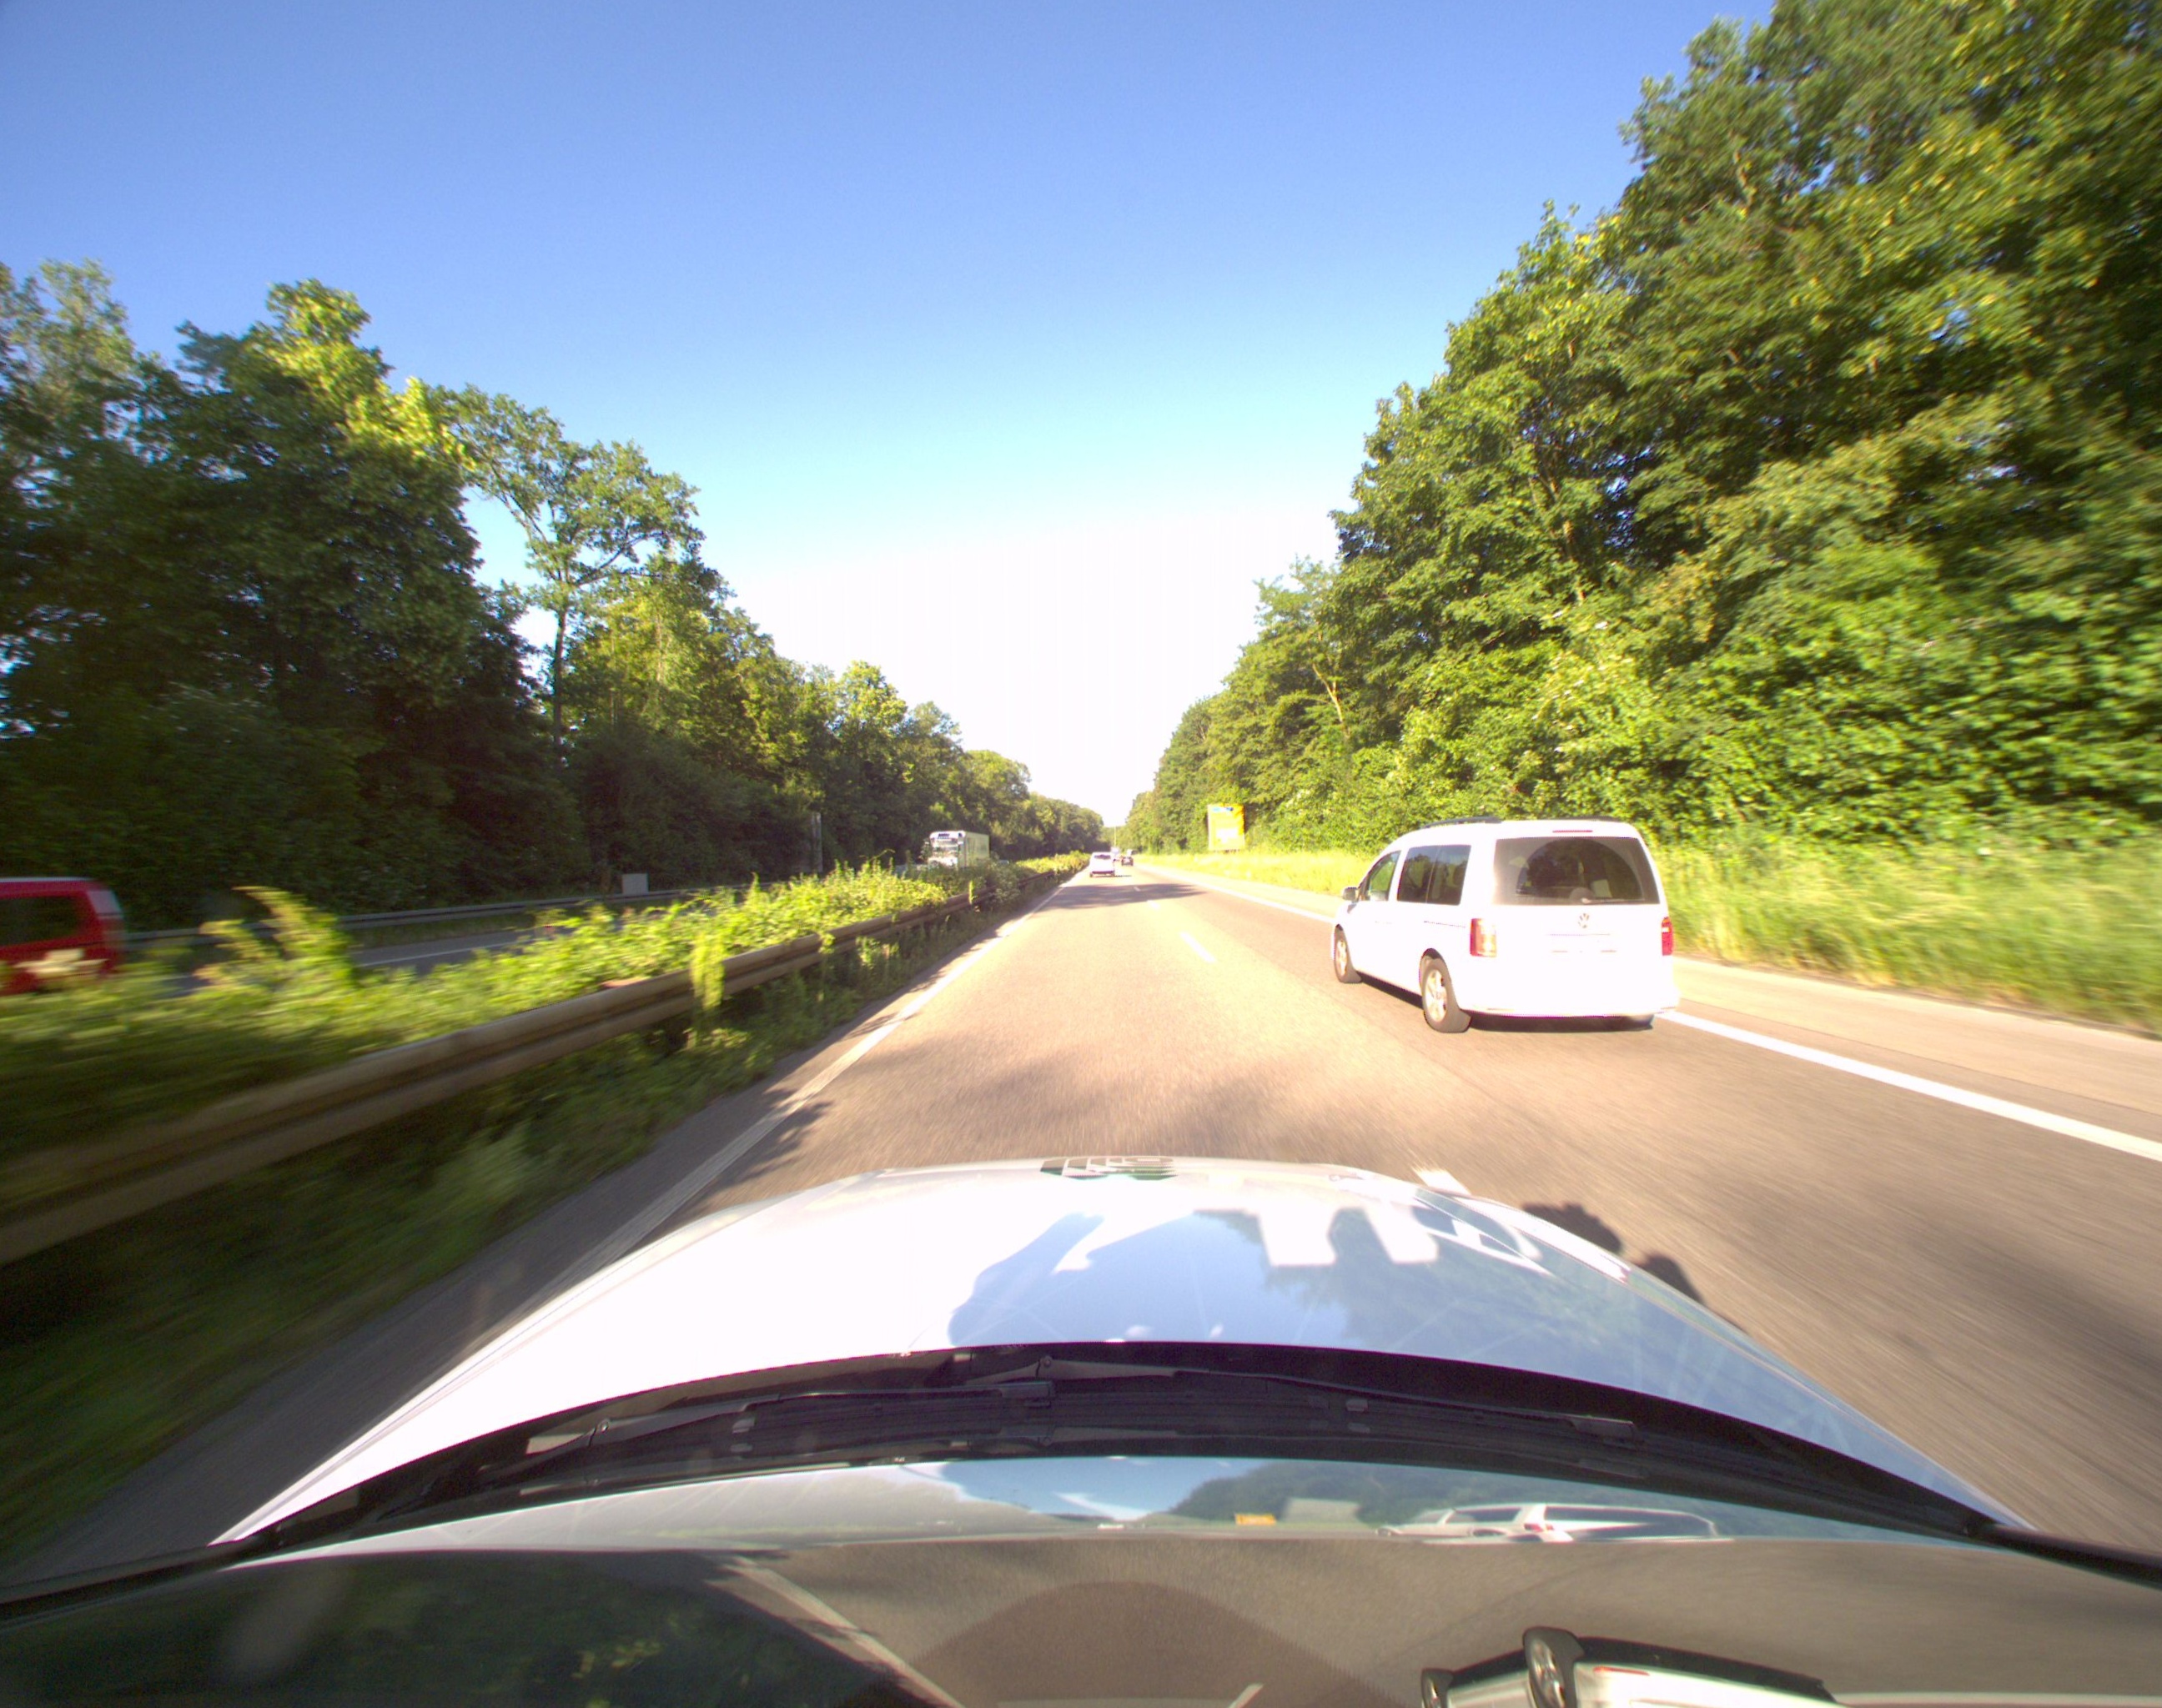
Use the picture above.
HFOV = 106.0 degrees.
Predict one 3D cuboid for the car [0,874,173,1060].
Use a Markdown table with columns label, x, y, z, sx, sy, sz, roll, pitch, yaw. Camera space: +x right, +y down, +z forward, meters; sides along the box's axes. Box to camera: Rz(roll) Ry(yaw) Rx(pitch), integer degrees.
| label | x | y | z | sx | sy | sz | roll | pitch | yaw |
| --- | --- | --- | --- | --- | --- | --- | --- | --- | --- |
| car | -11.553 | 1.124 | 7.266 | 1.710 | 1.810 | 4.527 | 0 | -1 | 2 |

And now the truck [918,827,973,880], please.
| label | x | y | z | sx | sy | sz | roll | pitch | yaw |
| --- | --- | --- | --- | --- | --- | --- | --- | --- | --- |
| truck | -10.712 | -0.042 | 64.913 | 3.217 | 4.013 | 5.678 | 0 | 0 | 1 |

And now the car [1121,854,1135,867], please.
| label | x | y | z | sx | sy | sz | roll | pitch | yaw |
| --- | --- | --- | --- | --- | --- | --- | --- | --- | --- |
| car | 6.979 | 0.983 | 121.349 | 1.944 | 1.782 | 4.588 | 0 | -1 | 1 |

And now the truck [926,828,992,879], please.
| label | x | y | z | sx | sy | sz | roll | pitch | yaw |
| --- | --- | --- | --- | --- | --- | --- | --- | --- | --- |
| truck | -10.517 | -0.033 | 71.967 | 3.231 | 4.013 | 14.455 | 0 | 0 | 2 |

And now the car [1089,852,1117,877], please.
| label | x | y | z | sx | sy | sz | roll | pitch | yaw |
| --- | --- | --- | --- | --- | --- | --- | --- | --- | --- |
| car | 1.617 | 0.751 | 60.368 | 1.944 | 1.782 | 4.588 | 0 | -1 | 1 |

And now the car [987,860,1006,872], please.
| label | x | y | z | sx | sy | sz | roll | pitch | yaw |
| --- | --- | --- | --- | --- | --- | --- | --- | --- | --- |
| car | -10.091 | 1.429 | 96.984 | 1.757 | 1.473 | 3.793 | 0 | -1 | 1 |

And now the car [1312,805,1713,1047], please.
| label | x | y | z | sx | sy | sz | roll | pitch | yaw |
| --- | --- | --- | --- | --- | --- | --- | --- | --- | --- |
| car | 3.890 | 0.564 | 8.415 | 1.792 | 1.813 | 4.588 | 0 | -1 | 1 |

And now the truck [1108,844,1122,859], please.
| label | x | y | z | sx | sy | sz | roll | pitch | yaw |
| --- | --- | --- | --- | --- | --- | --- | --- | --- | --- |
| truck | 9.676 | -0.661 | 233.171 | 3.720 | 4.343 | 9.308 | 0 | -1 | 2 |
